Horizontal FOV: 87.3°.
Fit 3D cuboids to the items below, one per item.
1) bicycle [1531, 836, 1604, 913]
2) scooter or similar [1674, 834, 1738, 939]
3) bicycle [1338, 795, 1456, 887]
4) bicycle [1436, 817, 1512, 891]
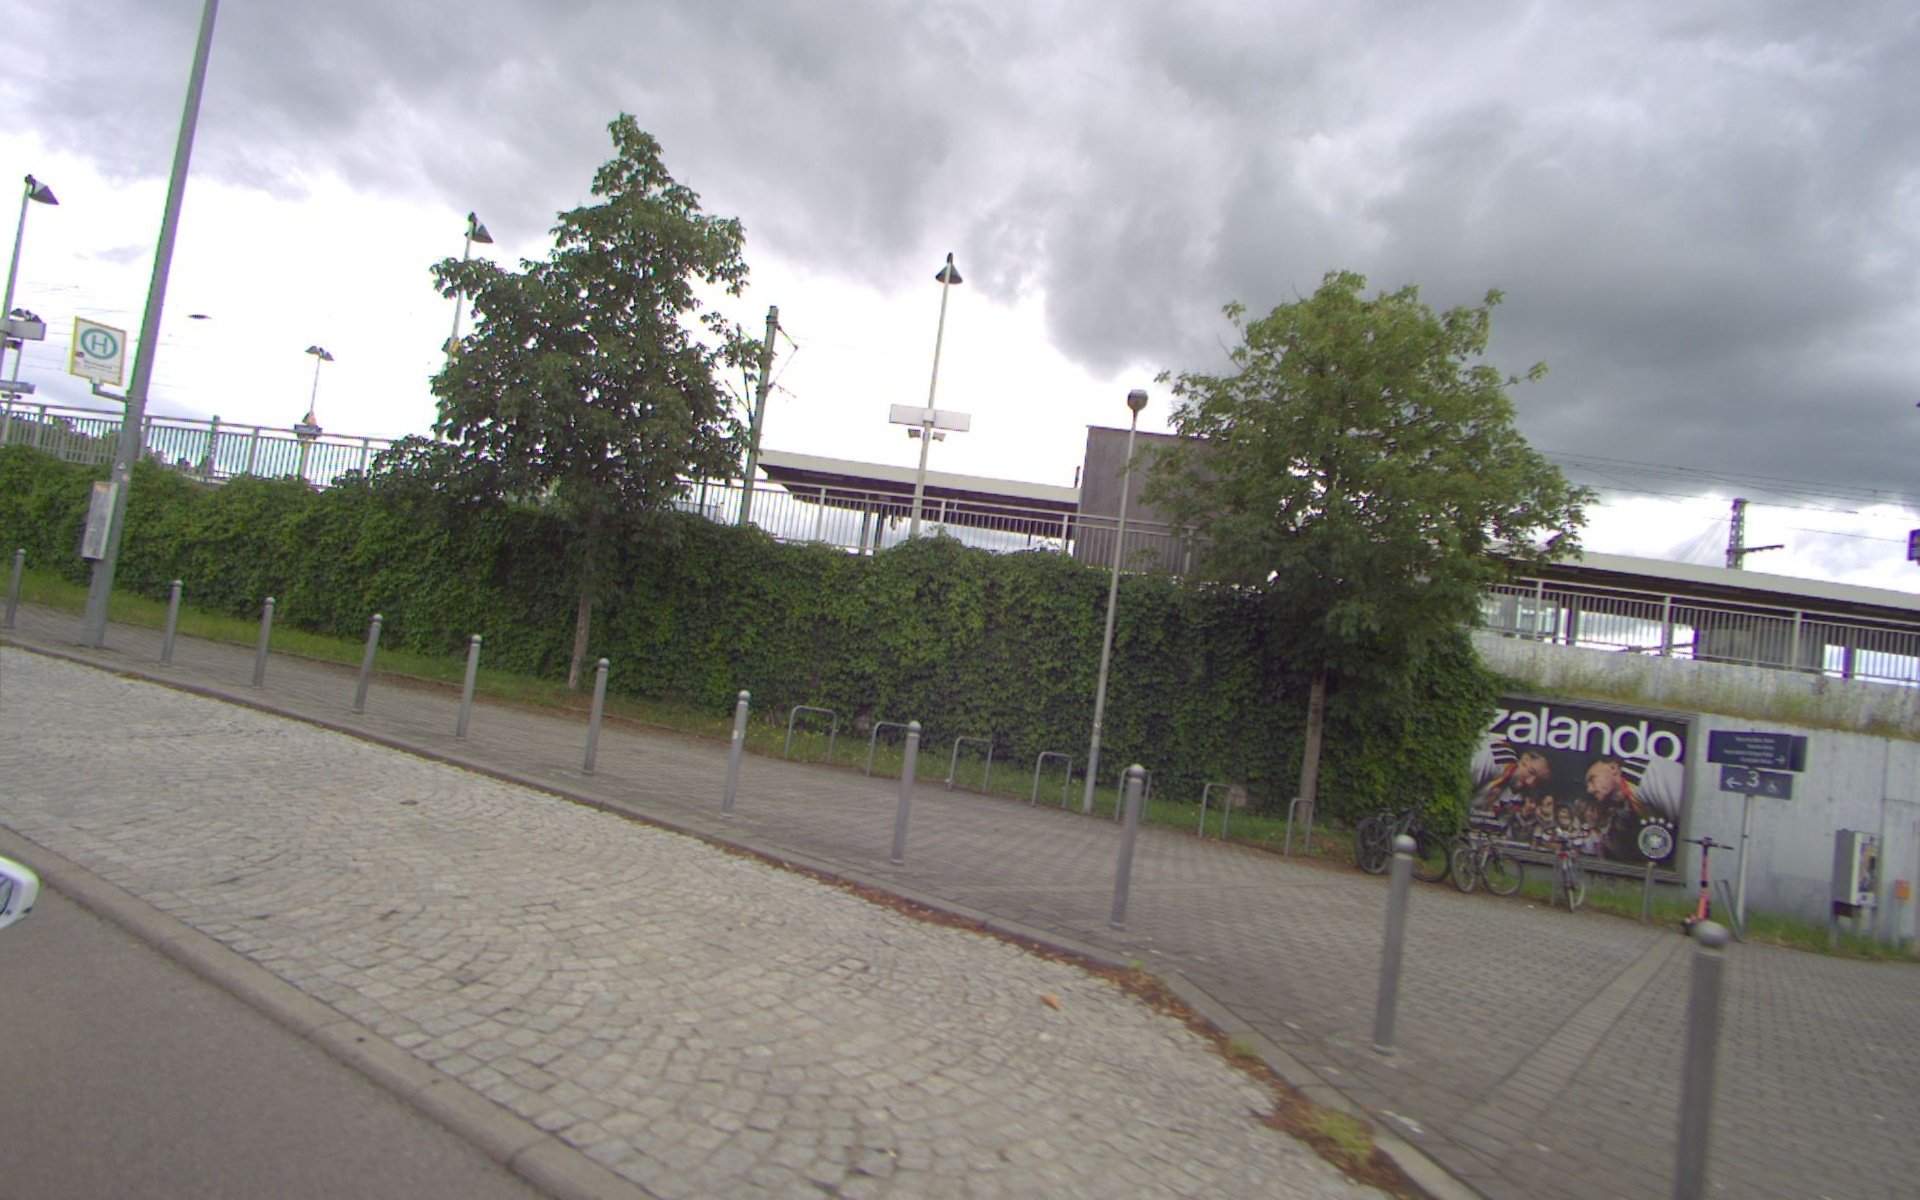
[{"bbox_3d":[8.320,3.734,13.741,0.503,0.873,1.970,7,-7,40],"label":"bicycle"},{"bbox_3d":[9.877,3.771,13.305,0.462,1.218,1.188,6,-6,43],"label":"scooter or similar"},{"bbox_3d":[5.990,3.300,13.764,1.480,0.999,0.689,13,-5,-33],"label":"bicycle"},{"bbox_3d":[7.153,3.524,13.963,0.457,0.862,1.576,6,-6,43],"label":"bicycle"}]
